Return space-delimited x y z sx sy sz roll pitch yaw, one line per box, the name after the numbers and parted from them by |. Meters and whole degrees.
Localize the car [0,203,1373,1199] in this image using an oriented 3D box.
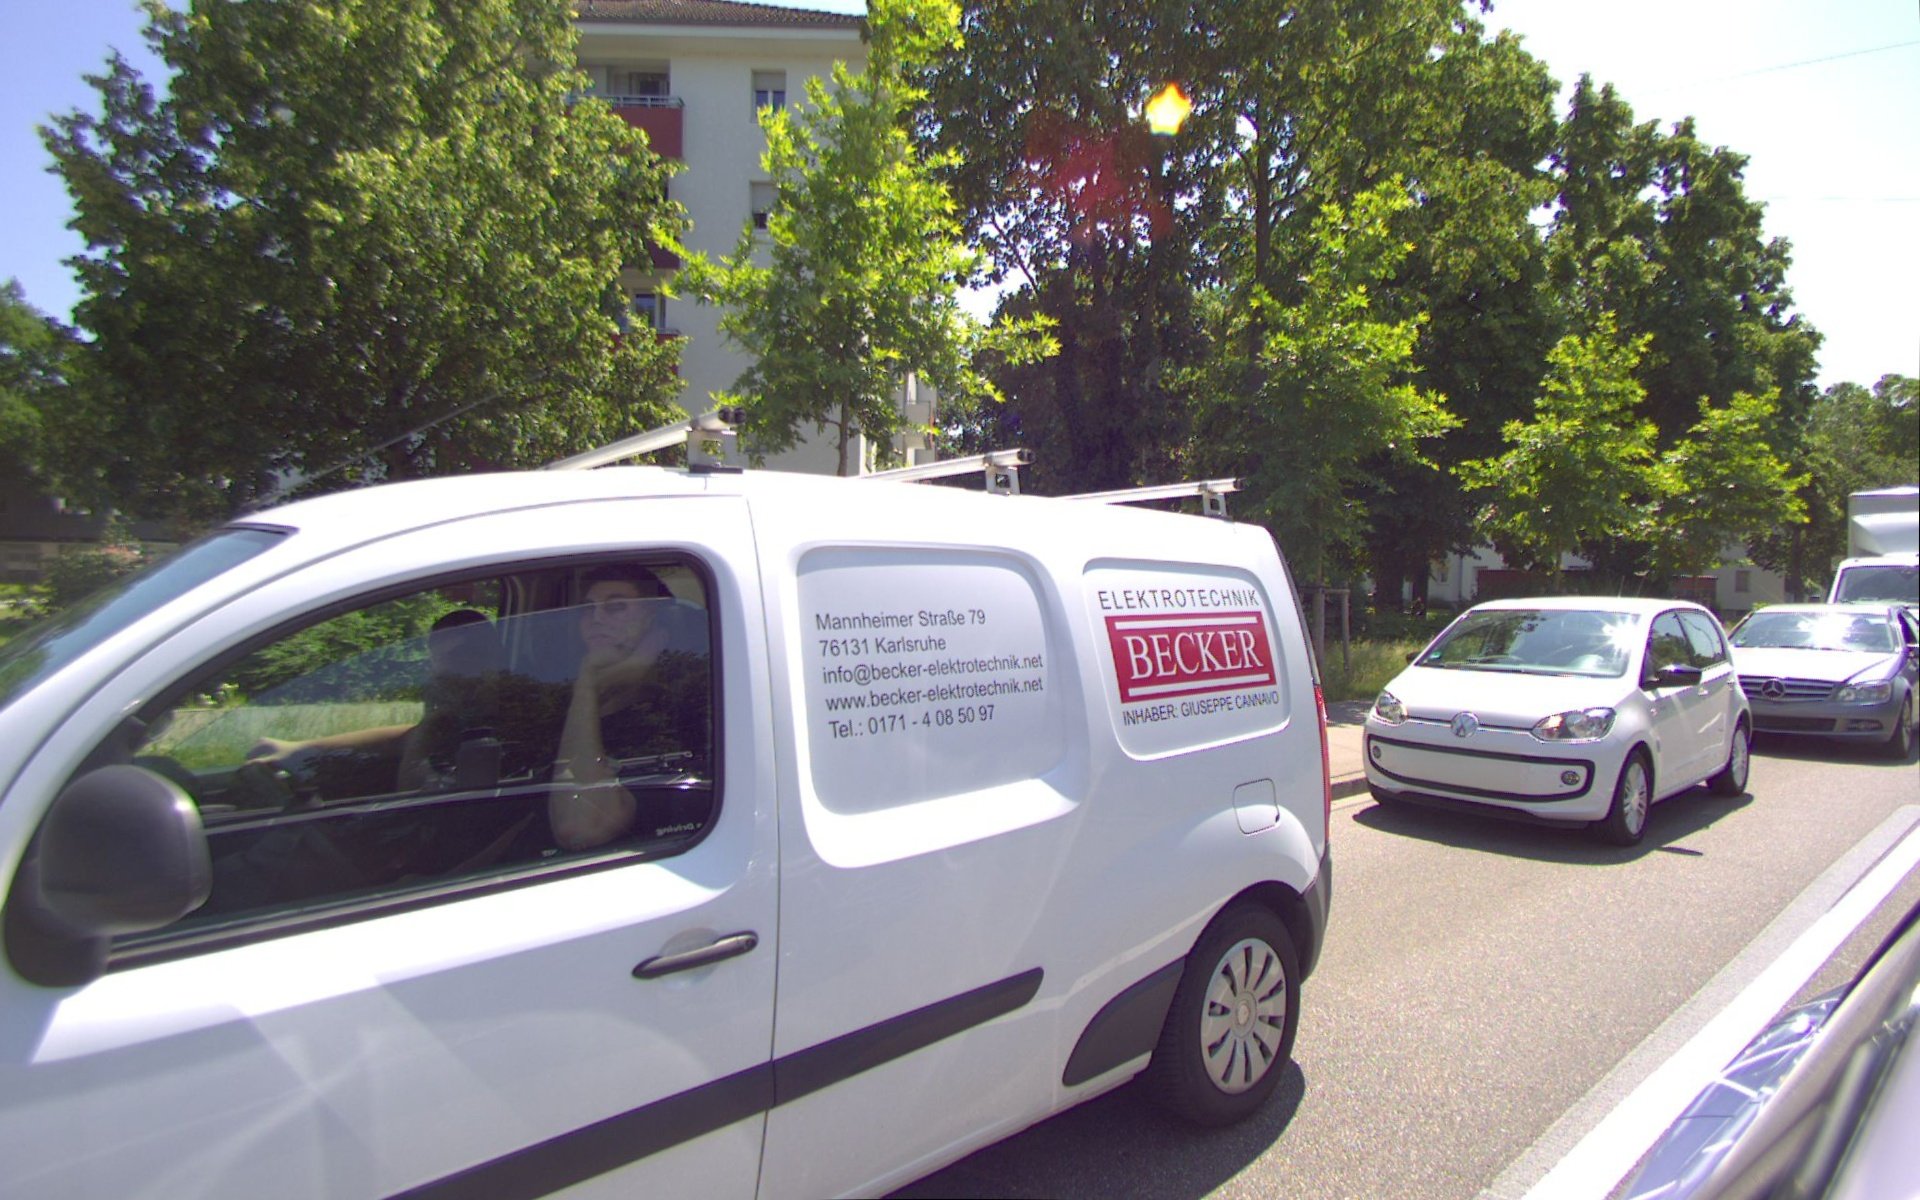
-0.998 0.454 2.536 4.370 1.849 1.997 0 1 -41 | car

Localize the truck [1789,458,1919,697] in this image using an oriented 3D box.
16.511 -0.338 16.975 7.778 3.387 2.434 0 1 -39 | truck

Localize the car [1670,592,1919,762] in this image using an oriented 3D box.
9.228 0.654 10.740 4.016 1.426 1.839 0 1 -41 | car

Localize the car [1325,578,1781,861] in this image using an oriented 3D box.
4.395 0.621 7.290 3.705 1.497 1.729 0 1 -41 | car
